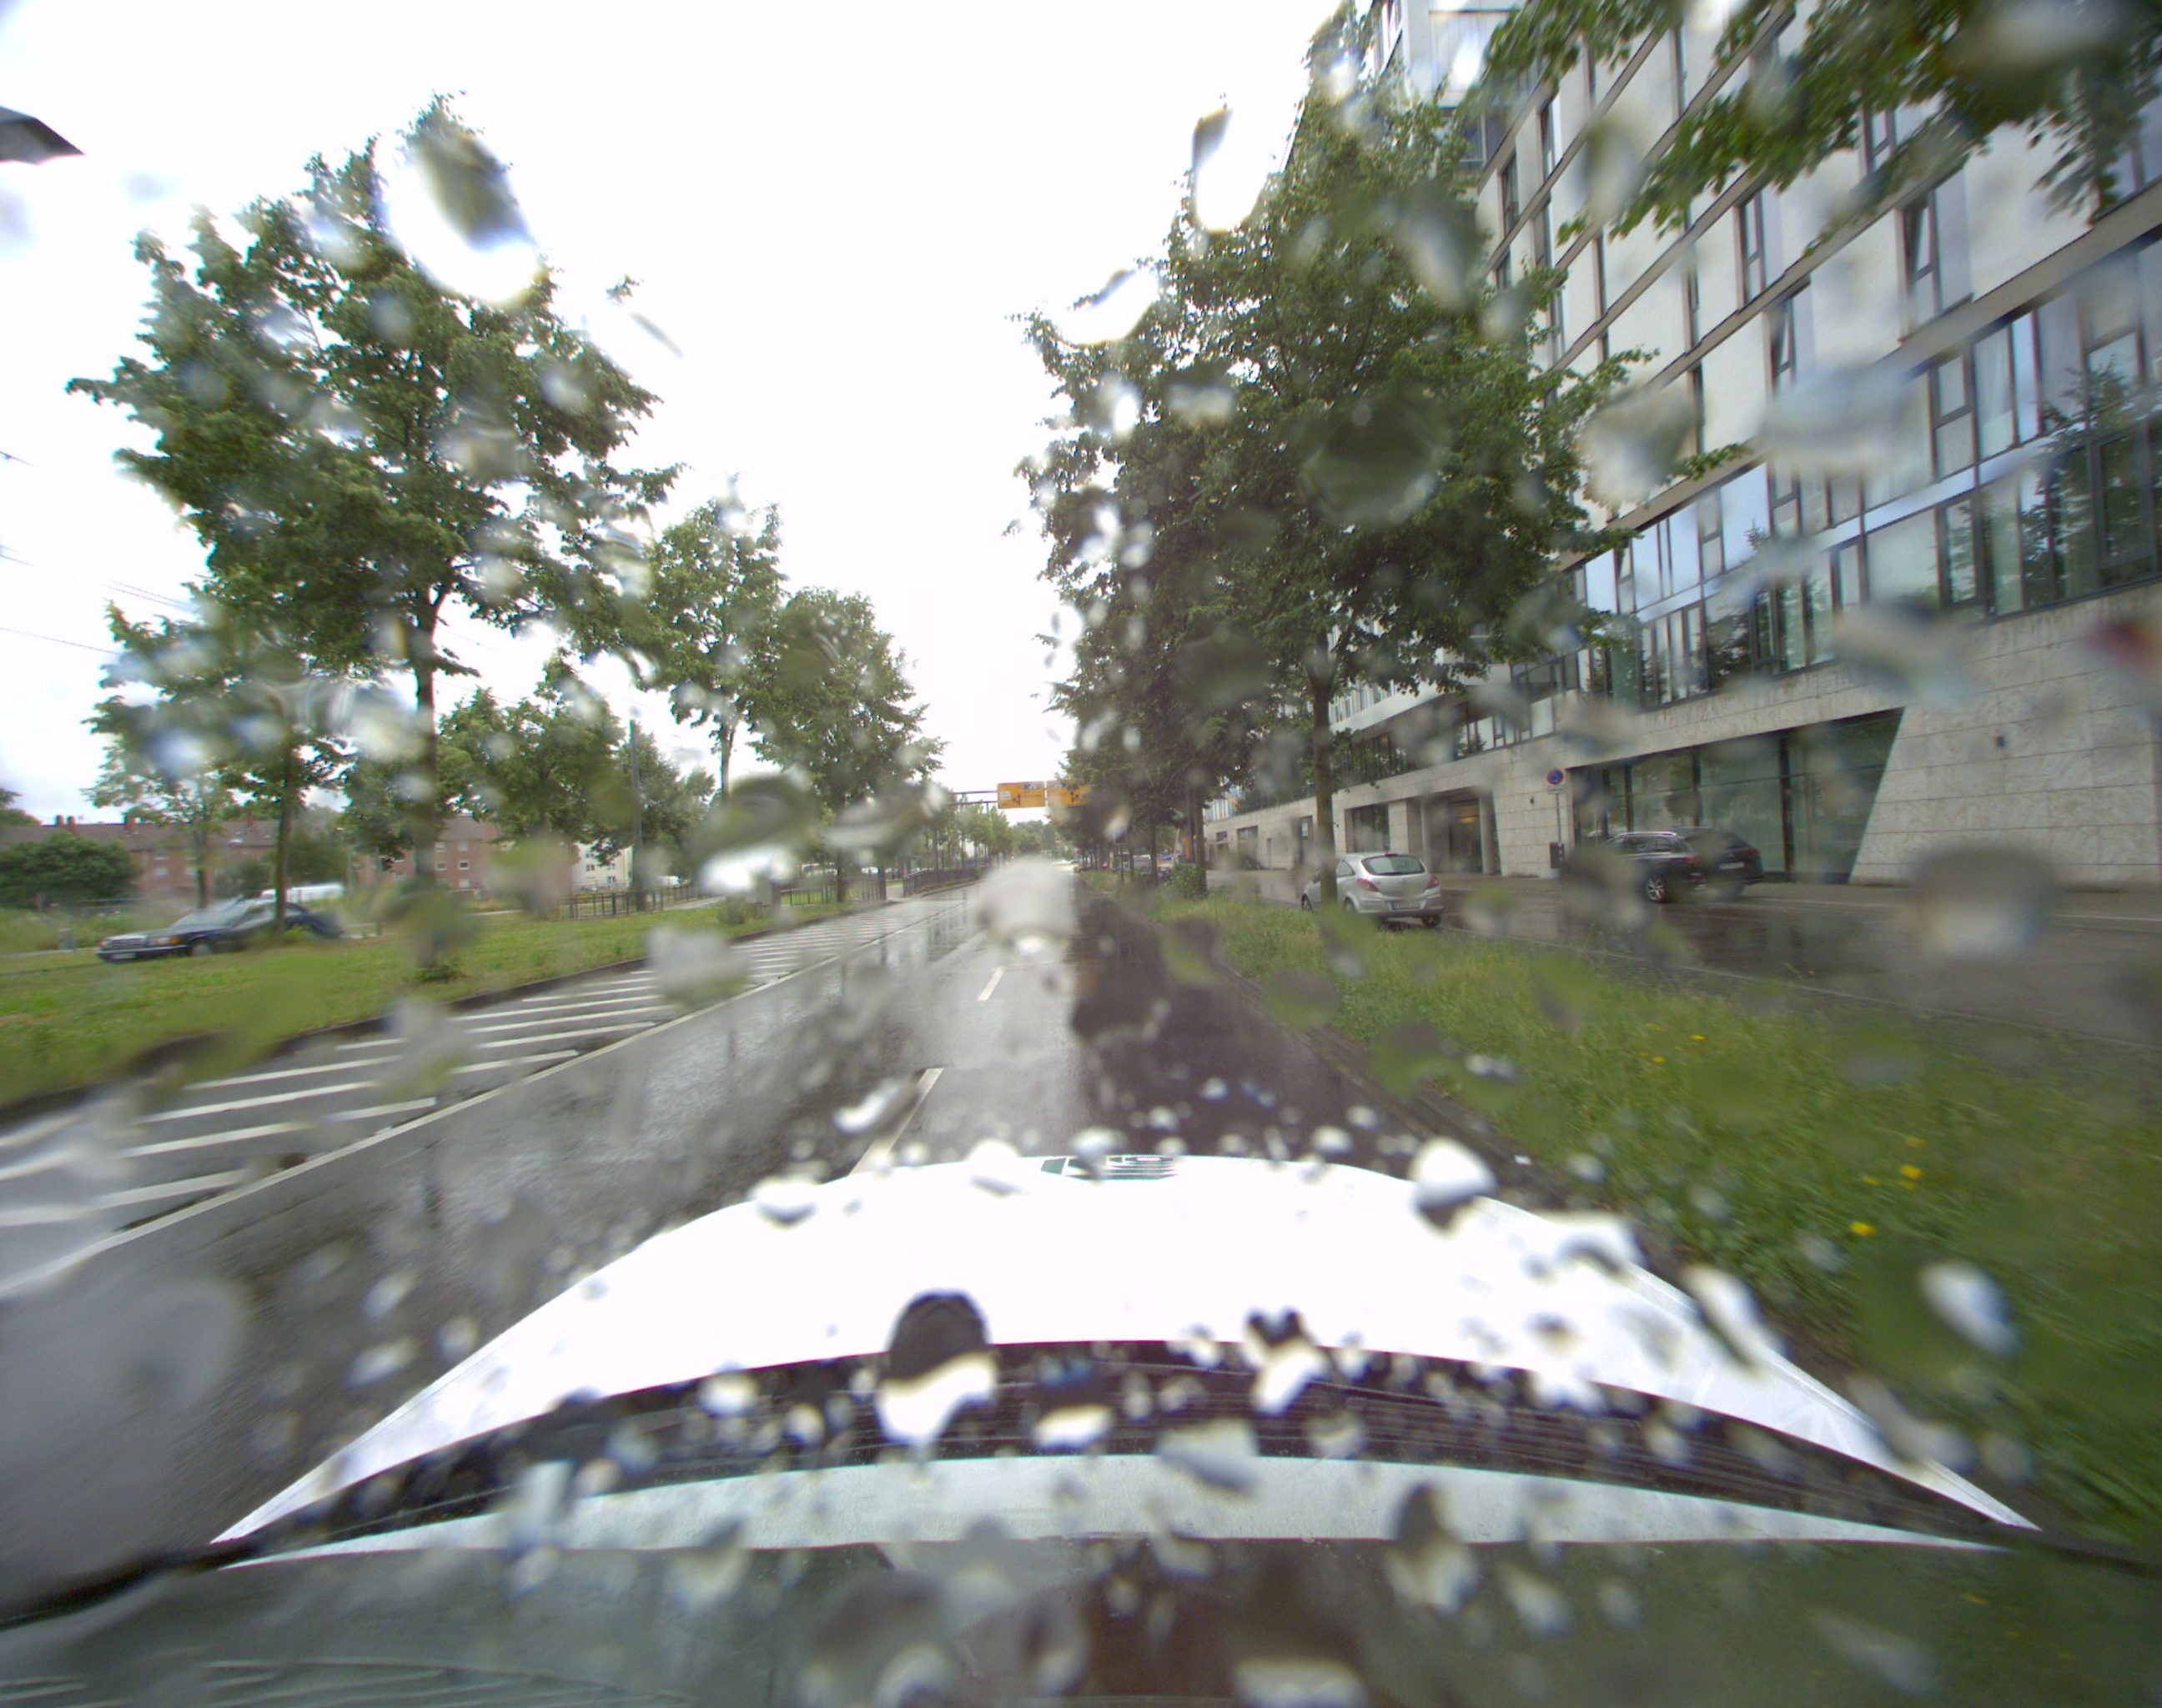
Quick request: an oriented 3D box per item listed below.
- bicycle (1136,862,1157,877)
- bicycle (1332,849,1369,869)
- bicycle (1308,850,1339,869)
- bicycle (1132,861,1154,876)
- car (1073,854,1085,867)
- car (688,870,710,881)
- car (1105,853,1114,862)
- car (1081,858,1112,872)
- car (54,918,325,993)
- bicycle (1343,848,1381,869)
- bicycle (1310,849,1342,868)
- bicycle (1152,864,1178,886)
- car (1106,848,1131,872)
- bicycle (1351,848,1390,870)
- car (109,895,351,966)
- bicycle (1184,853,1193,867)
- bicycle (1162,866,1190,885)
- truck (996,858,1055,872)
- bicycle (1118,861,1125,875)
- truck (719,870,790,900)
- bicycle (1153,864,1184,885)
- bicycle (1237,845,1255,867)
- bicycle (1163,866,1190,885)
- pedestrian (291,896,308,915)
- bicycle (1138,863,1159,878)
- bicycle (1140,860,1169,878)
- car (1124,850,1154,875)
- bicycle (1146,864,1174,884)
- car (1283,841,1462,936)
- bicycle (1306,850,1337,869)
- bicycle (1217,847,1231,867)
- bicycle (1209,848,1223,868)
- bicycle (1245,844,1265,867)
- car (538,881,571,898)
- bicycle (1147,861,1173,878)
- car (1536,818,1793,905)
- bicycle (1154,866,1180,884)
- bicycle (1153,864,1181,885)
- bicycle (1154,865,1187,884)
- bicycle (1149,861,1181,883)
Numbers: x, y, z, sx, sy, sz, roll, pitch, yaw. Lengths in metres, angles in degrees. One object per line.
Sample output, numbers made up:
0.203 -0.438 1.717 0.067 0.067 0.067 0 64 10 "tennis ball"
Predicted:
4.153 0.969 51.676 1.285 0.849 0.275 -3 -1 -3 "bicycle"
14.909 0.288 45.071 1.800 1.028 0.541 -3 -1 0 "bicycle"
14.445 0.319 48.530 1.688 1.028 0.423 -3 -1 0 "bicycle"
4.037 0.957 52.984 1.322 0.910 0.275 -3 -1 -3 "bicycle"
-0.359 1.180 149.452 1.935 2.013 3.999 -3 2 -1 "car"
-68.713 3.856 146.513 3.550 1.738 1.692 -4 2 -26 "car"
6.813 0.812 195.814 1.987 2.013 4.000 -3 2 0 "car"
1.857 1.361 100.954 1.829 1.545 3.958 -4 2 -34 "car"
-22.292 2.462 20.741 1.484 1.298 4.972 -3 -1 -2 "car"
14.864 0.244 43.060 1.800 1.028 0.541 -3 -1 0 "bicycle"
14.440 0.288 47.986 1.744 1.028 0.412 -3 -1 0 "bicycle"
4.438 1.106 42.877 1.282 1.074 0.276 -4 -1 6 "bicycle"
3.842 0.590 84.219 2.115 2.274 4.561 -3 0 -2 "car"
14.834 0.257 41.760 1.800 1.028 0.401 -3 -1 0 "bicycle"
-22.457 1.951 21.848 1.546 1.266 4.846 -3 1 -4 "car"
13.049 0.723 99.015 0.664 1.534 2.763 -3 2 -1 "bicycle"
4.683 1.058 40.192 1.281 0.874 0.301 -4 -1 9 "bicycle"
-14.459 2.874 211.567 14.873 3.147 3.507 -2 -1 -13 "truck"
2.558 0.856 51.421 0.273 0.849 1.292 -3 0 -1 "bicycle"
-64.310 6.047 160.689 12.527 4.592 3.371 -4 2 -29 "truck"
4.642 1.086 43.281 1.566 1.017 0.408 -4 -1 4 "bicycle"
13.449 0.145 66.531 0.643 1.722 3.118 -3 2 -2 "bicycle"
4.765 1.069 40.620 1.280 0.832 0.276 -4 -1 9 "bicycle"
-70.331 4.620 73.290 0.677 1.671 0.694 -3 2 -10 "pedestrian"
4.195 1.001 50.564 1.285 0.849 0.275 -3 -1 -3 "bicycle"
4.469 0.883 49.511 1.639 0.988 0.320 -3 -1 -3 "bicycle"
4.624 0.662 65.483 1.901 1.791 4.685 -3 0 -2 "car"
4.306 1.066 44.484 1.447 1.017 0.349 -3 -1 1 "bicycle"
5.785 0.573 16.868 1.876 1.505 4.722 -3 2 -1 "car"
14.459 0.337 49.051 1.688 1.028 0.423 -3 -1 0 "bicycle"
13.486 0.253 76.939 0.643 1.722 3.118 -3 2 -2 "bicycle"
12.746 0.389 76.856 0.643 1.722 3.118 -3 2 -2 "bicycle"
14.223 0.095 66.726 0.770 1.722 3.118 -3 2 -2 "bicycle"
-74.682 4.961 115.497 1.988 2.013 3.998 -3 2 -2 "car"
4.614 0.917 47.552 1.407 0.897 0.275 -3 -1 -5 "bicycle"
12.647 0.110 18.187 1.988 1.501 5.032 -5 1 -1 "car"
4.433 1.068 42.165 1.283 0.849 0.275 -4 -1 2 "bicycle"
4.635 1.086 43.710 1.432 1.017 0.349 -3 0 4 "bicycle"
4.597 1.048 41.820 1.665 0.849 0.275 -4 -1 2 "bicycle"
4.686 1.009 45.220 1.705 1.103 0.282 -3 -1 -9 "bicycle"
